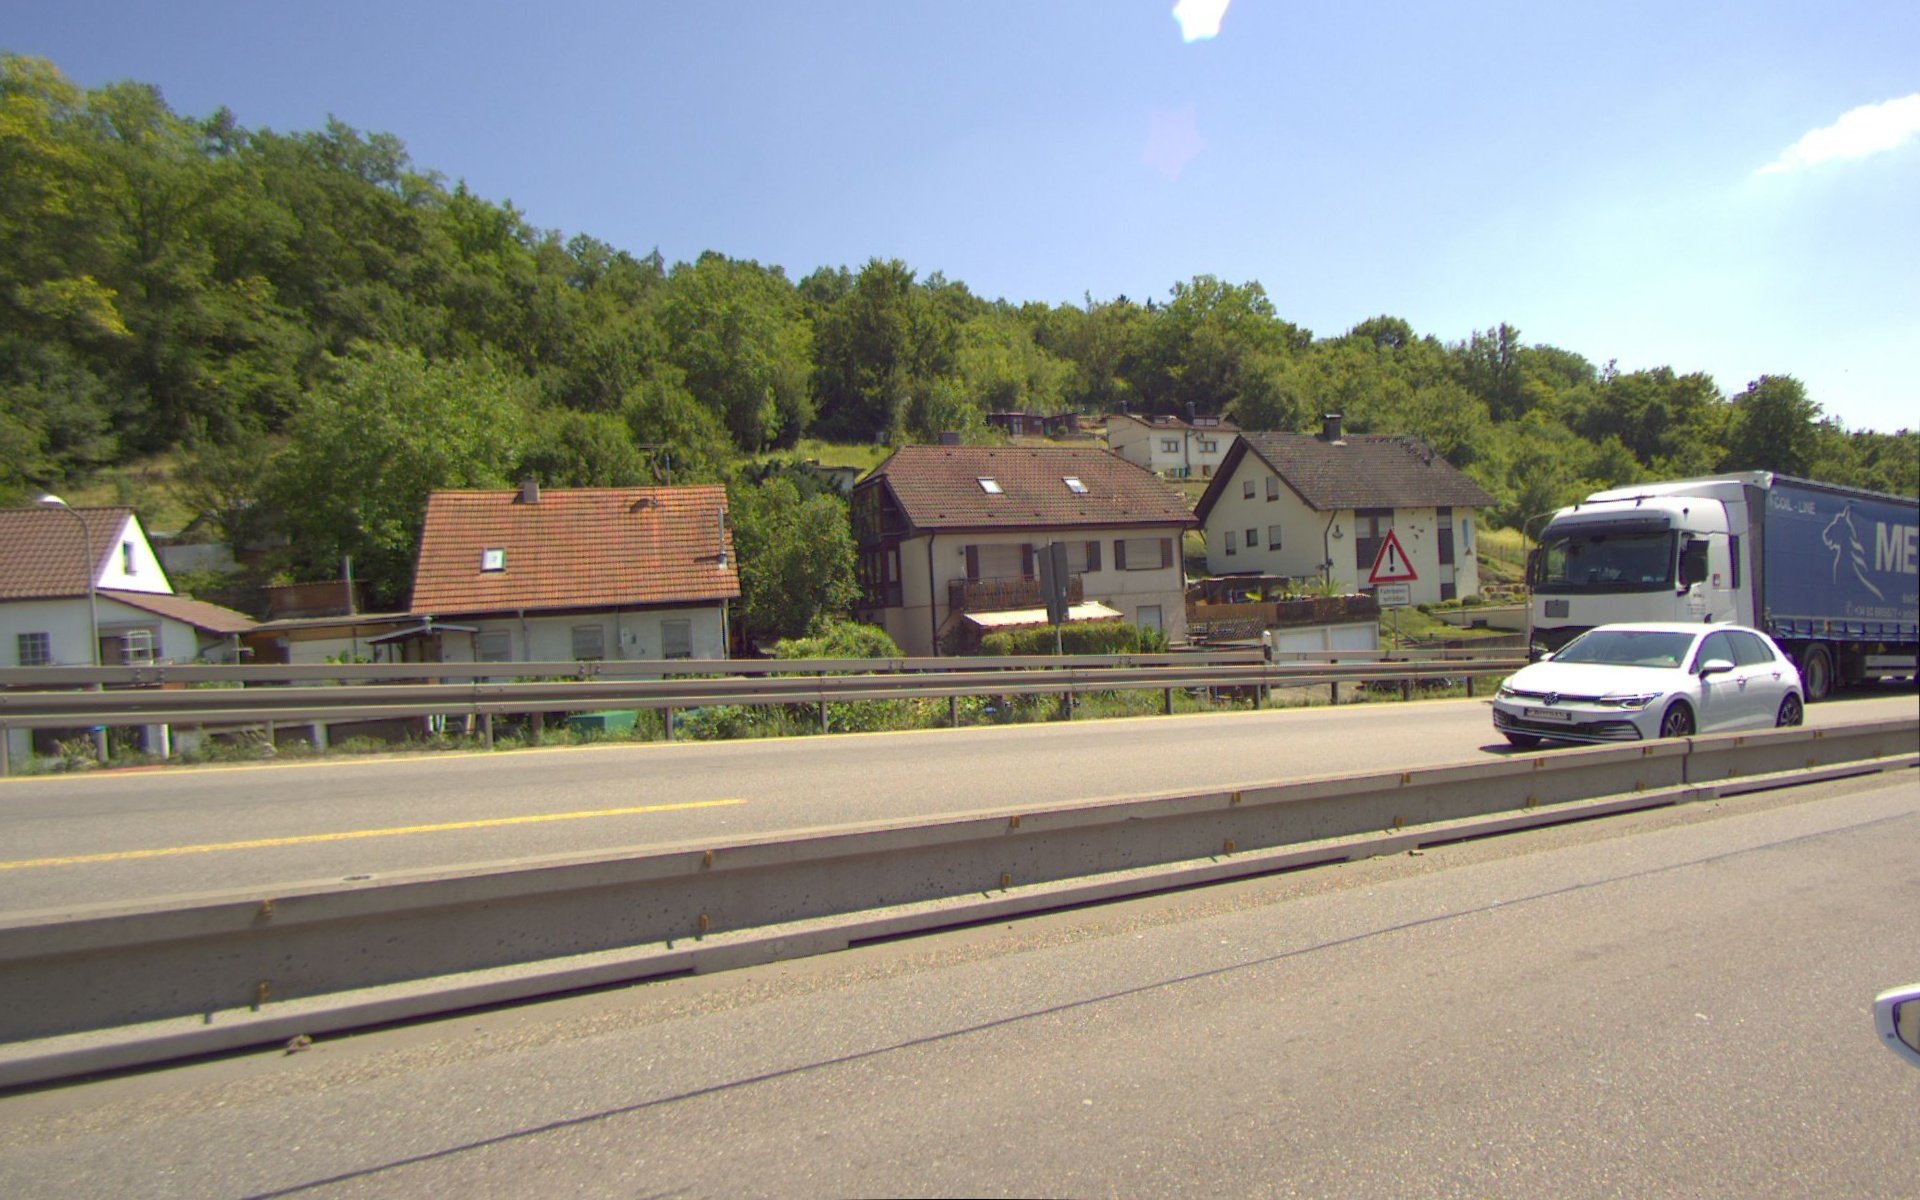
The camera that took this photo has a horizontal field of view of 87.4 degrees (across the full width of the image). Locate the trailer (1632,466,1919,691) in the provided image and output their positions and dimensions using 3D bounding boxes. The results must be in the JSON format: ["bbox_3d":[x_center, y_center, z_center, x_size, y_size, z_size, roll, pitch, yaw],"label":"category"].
[{"bbox_3d":[20.099,-0.307,22.578,11.668,4.134,3.123,1,0,-28],"label":"trailer"}]

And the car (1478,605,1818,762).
[{"bbox_3d":[8.070,0.857,11.697,4.141,1.555,1.663,1,0,-30],"label":"car"}]

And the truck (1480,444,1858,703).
[{"bbox_3d":[13.498,-0.373,19.068,6.792,4.134,3.123,1,0,-28],"label":"truck"}]
